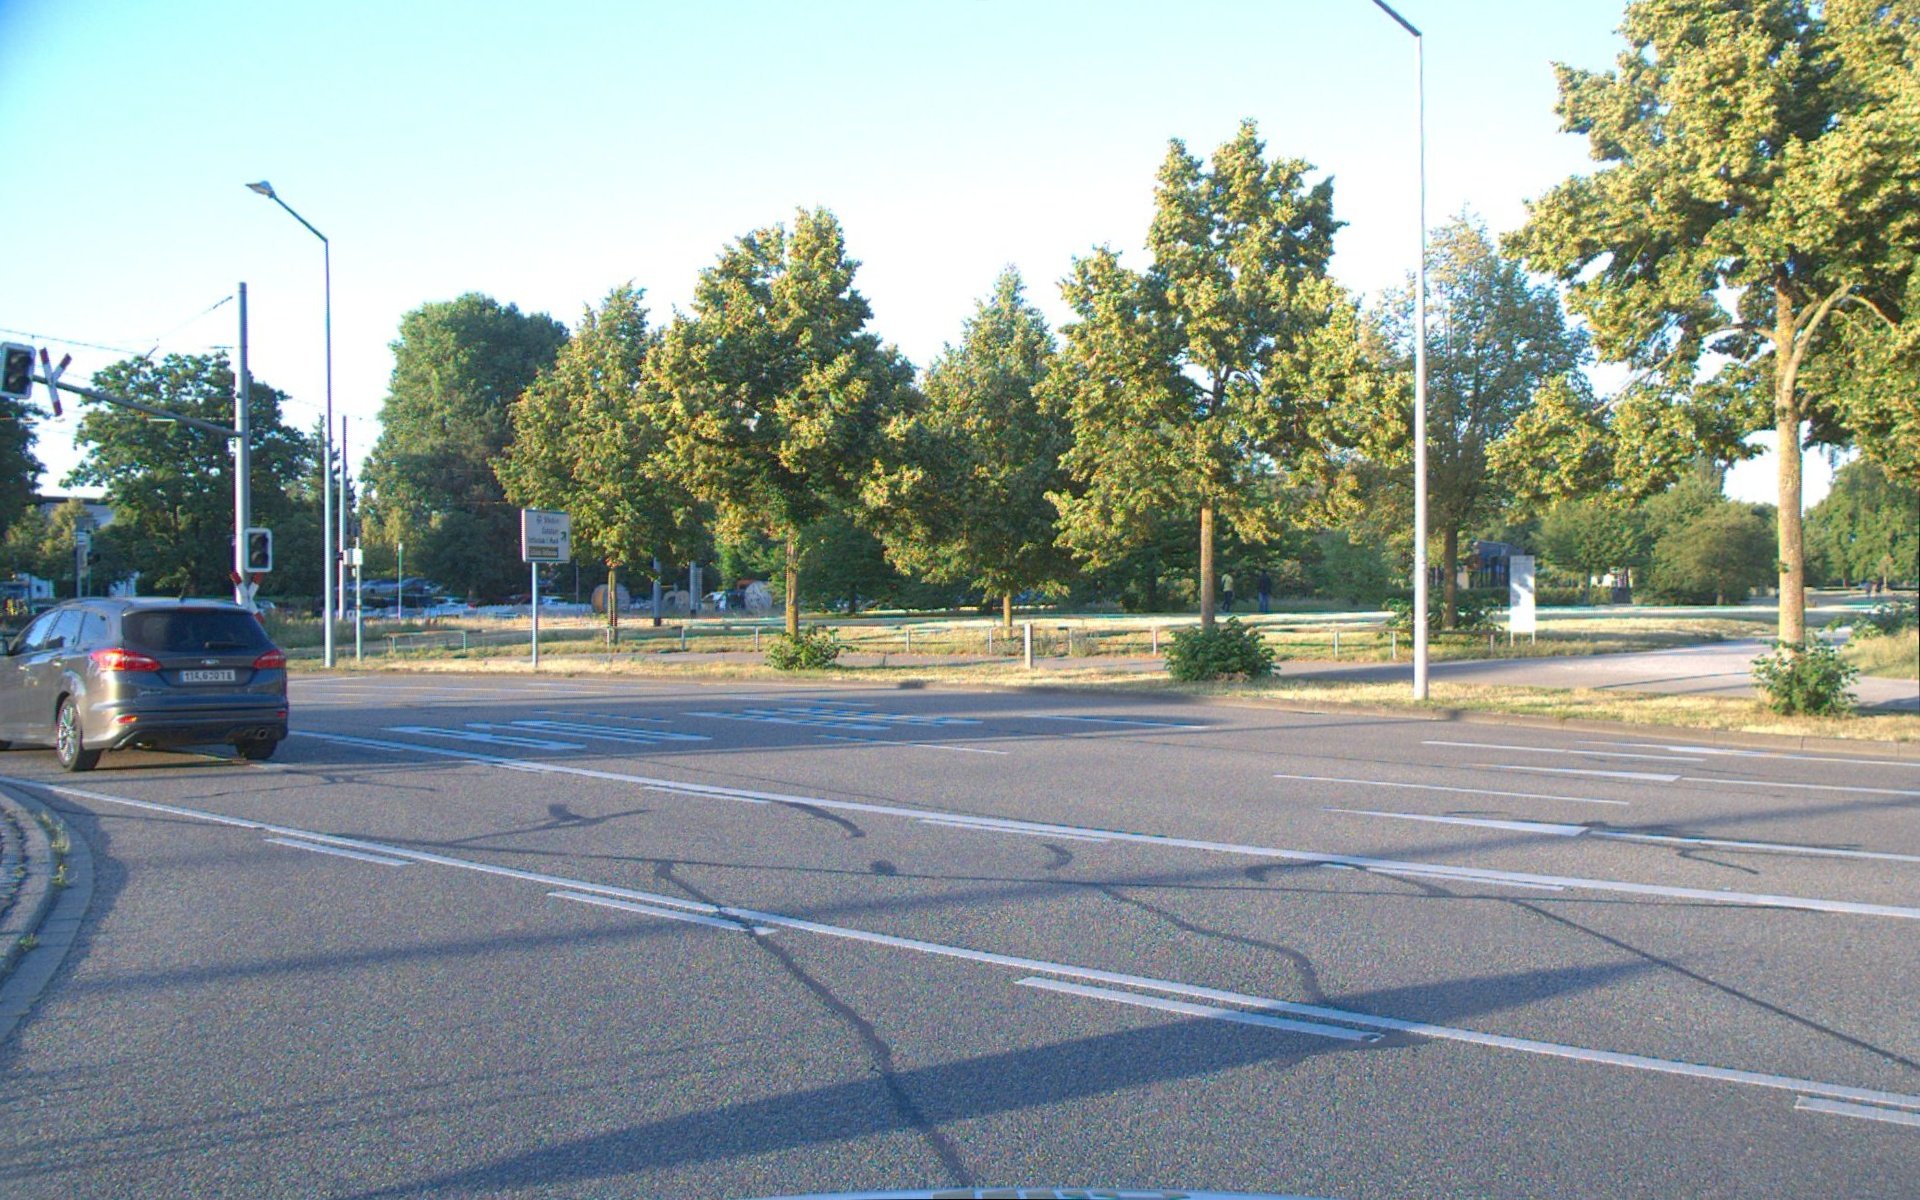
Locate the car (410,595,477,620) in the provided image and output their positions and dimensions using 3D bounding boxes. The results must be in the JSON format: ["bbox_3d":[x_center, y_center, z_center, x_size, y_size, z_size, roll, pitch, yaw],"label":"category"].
[{"bbox_3d":[-33.526,0.476,107.319,3.911,1.578,1.997,0,1,28],"label":"car"}]

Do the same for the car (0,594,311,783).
[{"bbox_3d":[-7.786,0.713,15.499,1.738,1.492,4.067,-2,1,-44],"label":"car"}]

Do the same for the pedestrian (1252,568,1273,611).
[{"bbox_3d":[11.669,-0.403,63.751,0.612,1.655,0.524,-1,0,-33],"label":"pedestrian"}]

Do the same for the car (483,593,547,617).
[{"bbox_3d":[-30.599,0.320,113.696,3.911,1.578,1.997,0,1,28],"label":"car"}]

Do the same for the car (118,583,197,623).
[{"bbox_3d":[-43.747,0.158,90.130,3.912,2.135,1.997,0,1,29],"label":"car"}]

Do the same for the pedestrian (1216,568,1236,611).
[{"bbox_3d":[10.273,-0.409,63.961,0.570,1.655,0.530,-1,0,-21],"label":"pedestrian"}]

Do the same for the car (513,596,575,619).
[{"bbox_3d":[-29.119,0.515,115.741,3.911,1.578,1.997,0,1,28],"label":"car"}]

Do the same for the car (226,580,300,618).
[{"bbox_3d":[-40.567,-0.050,96.271,3.912,2.135,1.997,0,1,29],"label":"car"}]

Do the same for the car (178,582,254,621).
[{"bbox_3d":[-41.865,0.058,93.091,3.912,2.135,1.997,0,1,29],"label":"car"}]
